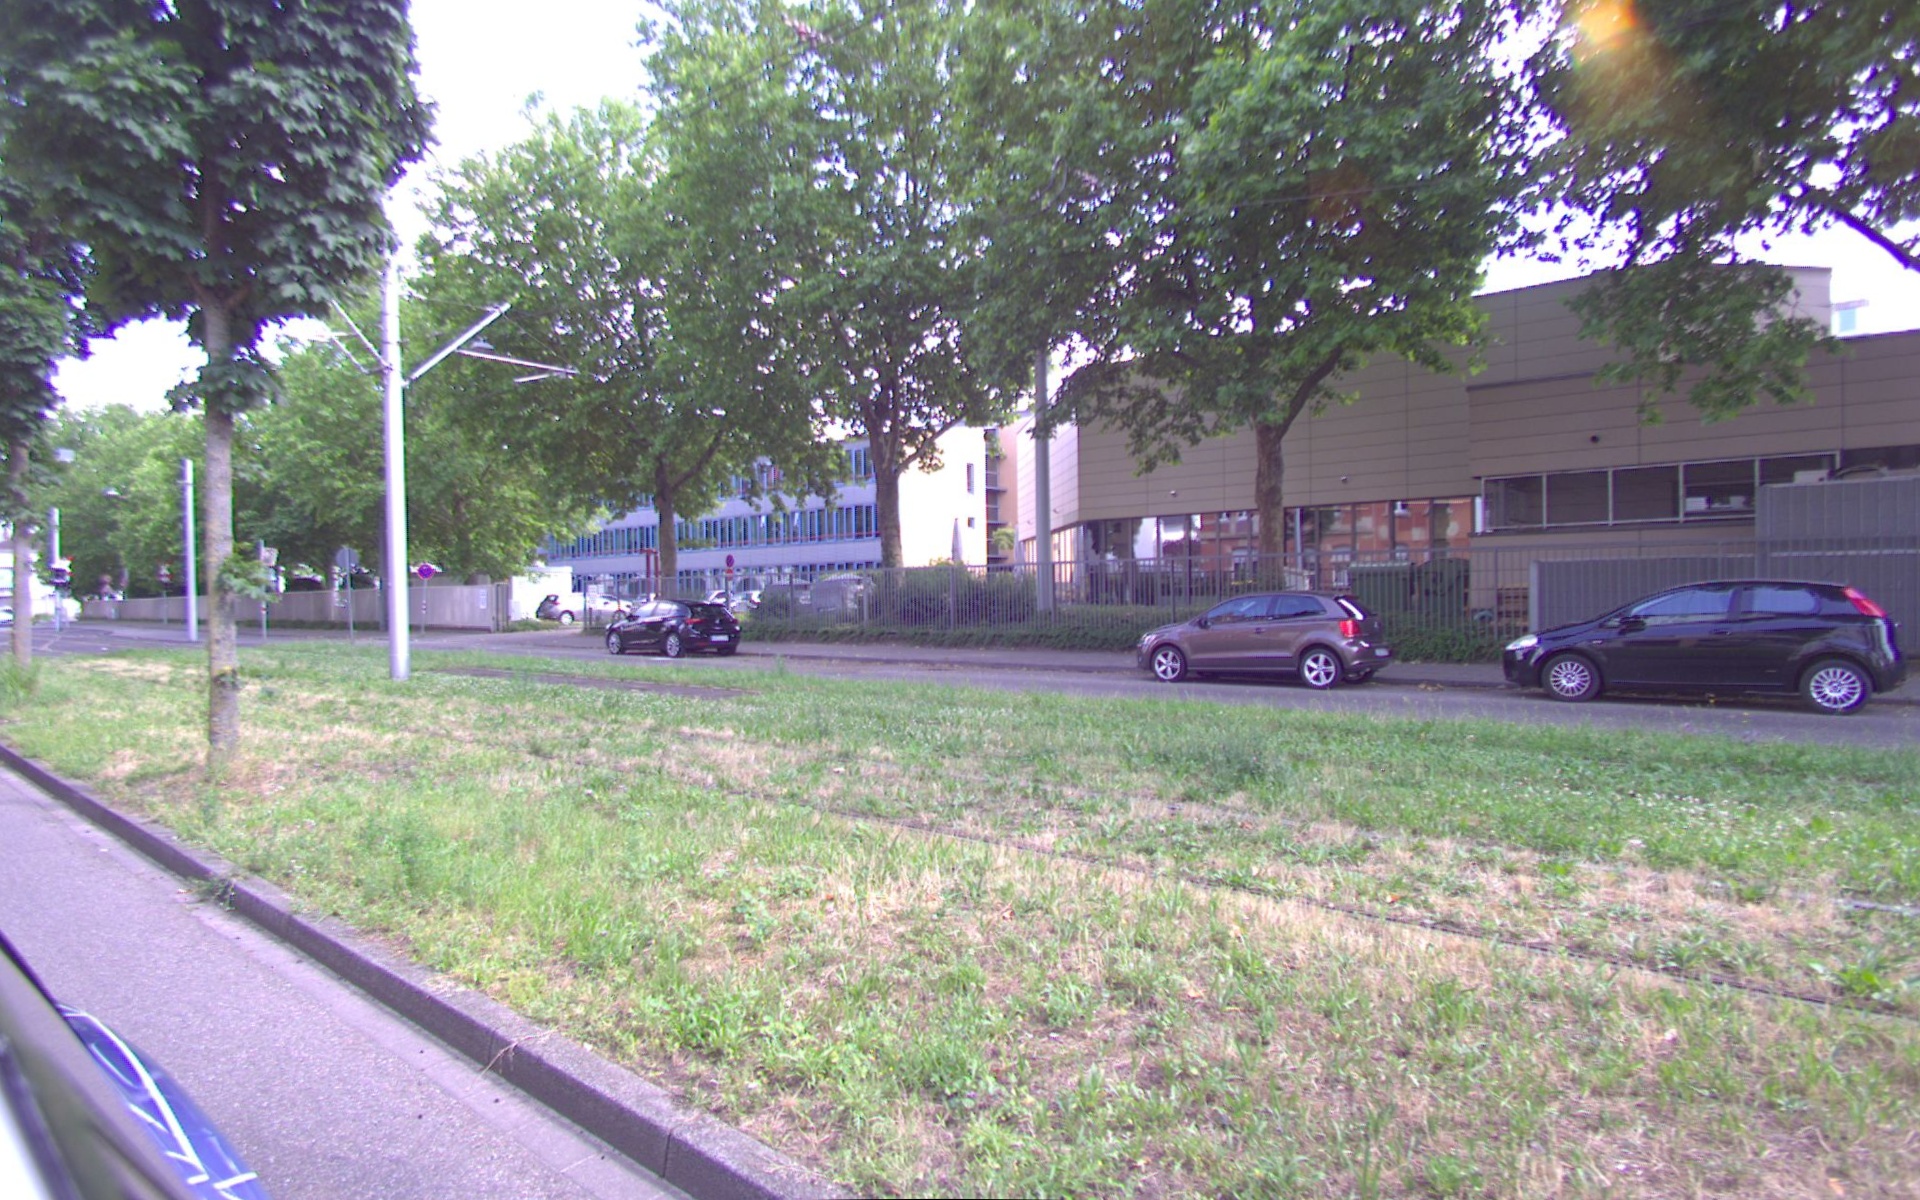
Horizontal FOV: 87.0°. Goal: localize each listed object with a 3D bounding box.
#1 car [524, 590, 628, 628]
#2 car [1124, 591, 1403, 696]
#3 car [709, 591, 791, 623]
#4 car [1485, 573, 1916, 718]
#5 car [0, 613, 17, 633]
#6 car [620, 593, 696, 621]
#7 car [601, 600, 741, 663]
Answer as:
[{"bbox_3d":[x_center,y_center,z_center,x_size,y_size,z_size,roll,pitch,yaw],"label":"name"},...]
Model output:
[{"bbox_3d":[-17.261,0.374,45.639,1.998,1.630,3.948,-1,0,39],"label":"car"},{"bbox_3d":[4.659,0.621,15.843,3.899,1.436,1.538,-1,0,41],"label":"car"},{"bbox_3d":[-11.144,0.359,53.951,1.998,1.630,3.948,-1,0,39],"label":"car"},{"bbox_3d":[8.801,0.463,12.256,4.000,1.464,1.783,-1,0,43],"label":"car"},{"bbox_3d":[-77.319,1.889,81.318,4.038,1.541,1.778,-1,1,40],"label":"car"},{"bbox_3d":[-18.192,0.425,61.083,1.998,1.630,3.948,-1,0,39],"label":"car"},{"bbox_3d":[-7.465,0.766,25.984,3.999,1.475,1.580,-1,0,42],"label":"car"}]
